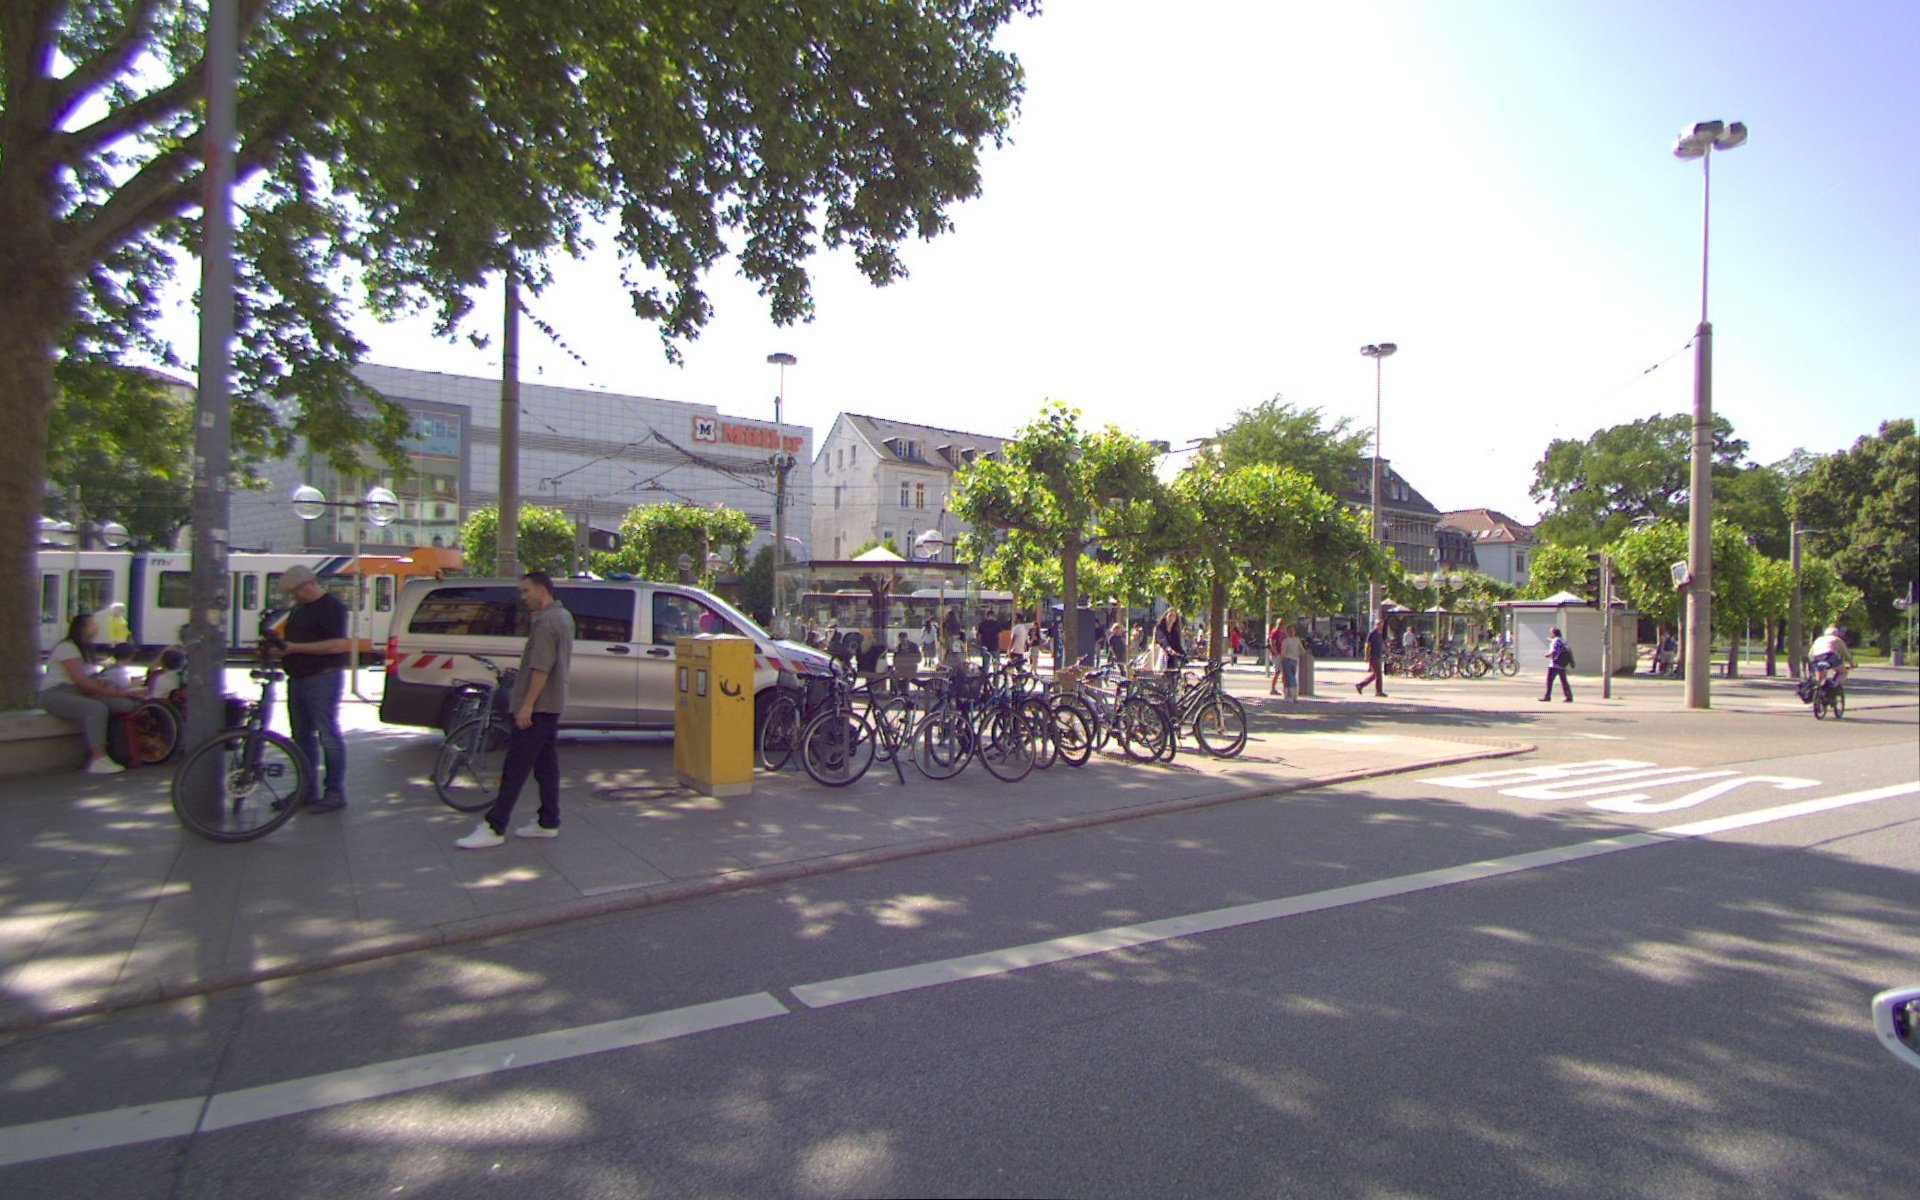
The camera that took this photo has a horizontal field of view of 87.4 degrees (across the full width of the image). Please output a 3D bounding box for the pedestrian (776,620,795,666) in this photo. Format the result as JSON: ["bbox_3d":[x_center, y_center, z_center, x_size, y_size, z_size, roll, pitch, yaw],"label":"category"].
[{"bbox_3d":[-6.500,1.585,37.341,0.465,1.687,0.520,-3,-3,36],"label":"pedestrian"}]

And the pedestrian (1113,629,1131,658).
[{"bbox_3d":[8.439,2.283,52.284,0.674,1.484,0.619,1,-3,-36],"label":"pedestrian"}]

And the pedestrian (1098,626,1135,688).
[{"bbox_3d":[4.002,1.460,25.741,0.673,1.544,0.620,1,-3,-31],"label":"pedestrian"}]

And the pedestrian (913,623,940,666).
[{"bbox_3d":[-1.171,1.559,35.248,0.671,1.484,0.621,-3,-3,43],"label":"pedestrian"}]

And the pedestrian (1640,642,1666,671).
[{"bbox_3d":[29.301,2.378,42.486,0.746,1.186,0.670,1,-3,-37],"label":"pedestrian"}]

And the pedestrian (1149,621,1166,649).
[{"bbox_3d":[10.864,1.932,55.316,0.672,1.484,0.621,0,-3,-27],"label":"pedestrian"}]

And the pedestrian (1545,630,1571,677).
[{"bbox_3d":[22.473,2.013,37.748,0.740,1.751,0.836,-3,-3,36],"label":"pedestrian"}]

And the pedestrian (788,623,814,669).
[{"bbox_3d":[-5.632,1.637,35.584,0.615,1.618,0.678,-3,-3,36],"label":"pedestrian"}]

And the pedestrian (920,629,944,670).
[{"bbox_3d":[-1.017,1.828,36.873,0.613,1.484,0.680,-2,-3,25],"label":"pedestrian"}]

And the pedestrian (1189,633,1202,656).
[{"bbox_3d":[13.218,2.498,56.319,0.447,1.279,0.515,0,-3,-27],"label":"pedestrian"}]

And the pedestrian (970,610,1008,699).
[{"bbox_3d":[0.617,1.133,20.997,0.612,1.817,0.681,-2,-3,17],"label":"pedestrian"}]

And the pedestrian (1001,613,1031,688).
[{"bbox_3d":[1.320,1.196,23.651,0.503,1.741,0.479,1,-3,-31],"label":"pedestrian"}]

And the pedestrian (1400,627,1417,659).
[{"bbox_3d":[21.301,2.035,47.722,0.667,1.484,0.625,-2,-3,22],"label":"pedestrian"}]

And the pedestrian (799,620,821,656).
[{"bbox_3d":[-6.289,1.594,42.116,0.613,1.484,0.680,-2,-3,25],"label":"pedestrian"}]

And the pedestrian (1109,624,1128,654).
[{"bbox_3d":[8.084,1.989,51.175,0.673,1.484,0.619,1,-3,-34],"label":"pedestrian"}]

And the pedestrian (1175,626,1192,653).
[{"bbox_3d":[12.355,2.184,55.533,0.672,1.484,0.621,0,-3,-27],"label":"pedestrian"}]

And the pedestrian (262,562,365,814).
[{"bbox_3d":[-4.754,0.614,7.389,0.516,1.766,0.509,1,1,-44],"label":"pedestrian"}]

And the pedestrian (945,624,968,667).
[{"bbox_3d":[-0.130,1.606,35.165,0.518,1.484,0.586,-3,-3,39],"label":"pedestrian"}]

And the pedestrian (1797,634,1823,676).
[{"bbox_3d":[33.988,2.201,40.171,0.617,1.630,0.524,0,-3,-22],"label":"pedestrian"}]

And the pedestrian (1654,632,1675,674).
[{"bbox_3d":[27.968,2.114,39.861,0.566,1.630,0.602,-2,-3,30],"label":"pedestrian"}]

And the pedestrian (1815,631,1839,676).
[{"bbox_3d":[34.097,2.095,39.515,0.517,1.756,0.587,-2,-3,29],"label":"pedestrian"}]

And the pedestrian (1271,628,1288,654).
[{"bbox_3d":[18.323,2.367,57.632,0.670,1.485,0.622,1,-1,-18],"label":"pedestrian"}]

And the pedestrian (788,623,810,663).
[{"bbox_3d":[-6.096,1.631,38.079,0.615,1.484,0.551,-3,-3,37],"label":"pedestrian"}]

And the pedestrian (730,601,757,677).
[{"bbox_3d":[-5.261,0.949,24.403,0.480,1.801,0.522,1,-3,-32],"label":"pedestrian"}]

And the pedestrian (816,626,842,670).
[{"bbox_3d":[-4.564,1.682,34.968,0.615,1.521,0.678,-3,-3,36],"label":"pedestrian"}]

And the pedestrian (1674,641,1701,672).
[{"bbox_3d":[29.774,2.303,41.122,0.746,1.263,0.670,1,-3,-37],"label":"pedestrian"}]

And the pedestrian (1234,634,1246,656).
[{"bbox_3d":[15.900,2.564,57.088,0.445,1.279,0.517,0,-3,-15],"label":"pedestrian"}]

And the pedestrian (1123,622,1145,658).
[{"bbox_3d":[7.344,1.692,42.385,0.616,1.484,0.676,0,-3,-25],"label":"pedestrian"}]

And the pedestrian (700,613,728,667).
[{"bbox_3d":[-8.395,1.374,34.285,0.615,1.818,0.678,-3,-3,36],"label":"pedestrian"}]

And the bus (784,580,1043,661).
[{"bbox_3d":[-2.276,0.997,49.083,12.244,3.465,3.059,2,1,-13],"label":"bus"}]

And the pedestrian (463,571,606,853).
[{"bbox_3d":[-2.778,0.681,6.560,0.638,1.714,0.635,1,1,-44],"label":"pedestrian"}]

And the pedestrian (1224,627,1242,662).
[{"bbox_3d":[11.630,1.898,42.789,0.667,1.484,0.625,-2,-3,21],"label":"pedestrian"}]

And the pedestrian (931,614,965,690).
[{"bbox_3d":[-0.303,1.278,24.842,0.598,1.839,0.573,1,-3,-32],"label":"pedestrian"}]

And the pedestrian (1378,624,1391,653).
[{"bbox_3d":[25.970,2.364,61.438,0.537,1.771,0.630,-2,-3,37],"label":"pedestrian"}]

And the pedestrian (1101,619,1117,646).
[{"bbox_3d":[8.360,1.832,56.415,0.621,1.484,0.577,1,-3,-44],"label":"pedestrian"}]

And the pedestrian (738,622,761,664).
[{"bbox_3d":[-7.647,1.560,36.493,0.671,1.484,0.621,0,-3,-26],"label":"pedestrian"}]

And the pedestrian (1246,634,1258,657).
[{"bbox_3d":[16.603,2.604,57.113,0.445,1.279,0.517,0,-3,-15],"label":"pedestrian"}]

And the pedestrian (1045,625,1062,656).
[{"bbox_3d":[4.558,1.987,49.000,0.554,1.484,0.583,0,-3,-25],"label":"pedestrian"}]

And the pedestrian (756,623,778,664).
[{"bbox_3d":[-7.116,1.615,37.019,0.671,1.484,0.621,0,-3,-26],"label":"pedestrian"}]

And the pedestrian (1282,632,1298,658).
[{"bbox_3d":[18.942,2.591,57.646,0.672,1.484,0.621,2,-3,-27],"label":"pedestrian"}]

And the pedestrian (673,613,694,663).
[{"bbox_3d":[-9.773,1.354,35.458,0.550,1.741,0.464,-3,-3,37],"label":"pedestrian"}]

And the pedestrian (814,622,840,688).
[{"bbox_3d":[-3.066,1.270,23.122,0.545,1.484,0.589,0,-2,-11],"label":"pedestrian"}]

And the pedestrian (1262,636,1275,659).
[{"bbox_3d":[17.658,2.702,57.463,0.445,1.279,0.517,0,-3,-15],"label":"pedestrian"}]

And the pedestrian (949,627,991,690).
[{"bbox_3d":[0.233,1.332,22.866,0.787,1.389,0.681,-2,-3,15],"label":"pedestrian"}]

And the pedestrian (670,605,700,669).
[{"bbox_3d":[-7.644,1.038,27.878,0.552,1.753,0.587,-3,-3,36],"label":"pedestrian"}]

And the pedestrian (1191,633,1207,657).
[{"bbox_3d":[12.831,2.403,53.870,0.573,1.279,0.620,0,-3,-22],"label":"pedestrian"}]

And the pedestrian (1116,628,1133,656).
[{"bbox_3d":[8.751,2.226,53.438,0.674,1.484,0.618,1,-3,-38],"label":"pedestrian"}]

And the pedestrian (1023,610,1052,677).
[{"bbox_3d":[2.379,1.332,30.837,0.560,2.034,0.685,2,-1,-40],"label":"pedestrian"}]

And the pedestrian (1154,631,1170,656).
[{"bbox_3d":[10.821,2.336,53.872,0.573,1.279,0.620,0,-3,-22],"label":"pedestrian"}]
